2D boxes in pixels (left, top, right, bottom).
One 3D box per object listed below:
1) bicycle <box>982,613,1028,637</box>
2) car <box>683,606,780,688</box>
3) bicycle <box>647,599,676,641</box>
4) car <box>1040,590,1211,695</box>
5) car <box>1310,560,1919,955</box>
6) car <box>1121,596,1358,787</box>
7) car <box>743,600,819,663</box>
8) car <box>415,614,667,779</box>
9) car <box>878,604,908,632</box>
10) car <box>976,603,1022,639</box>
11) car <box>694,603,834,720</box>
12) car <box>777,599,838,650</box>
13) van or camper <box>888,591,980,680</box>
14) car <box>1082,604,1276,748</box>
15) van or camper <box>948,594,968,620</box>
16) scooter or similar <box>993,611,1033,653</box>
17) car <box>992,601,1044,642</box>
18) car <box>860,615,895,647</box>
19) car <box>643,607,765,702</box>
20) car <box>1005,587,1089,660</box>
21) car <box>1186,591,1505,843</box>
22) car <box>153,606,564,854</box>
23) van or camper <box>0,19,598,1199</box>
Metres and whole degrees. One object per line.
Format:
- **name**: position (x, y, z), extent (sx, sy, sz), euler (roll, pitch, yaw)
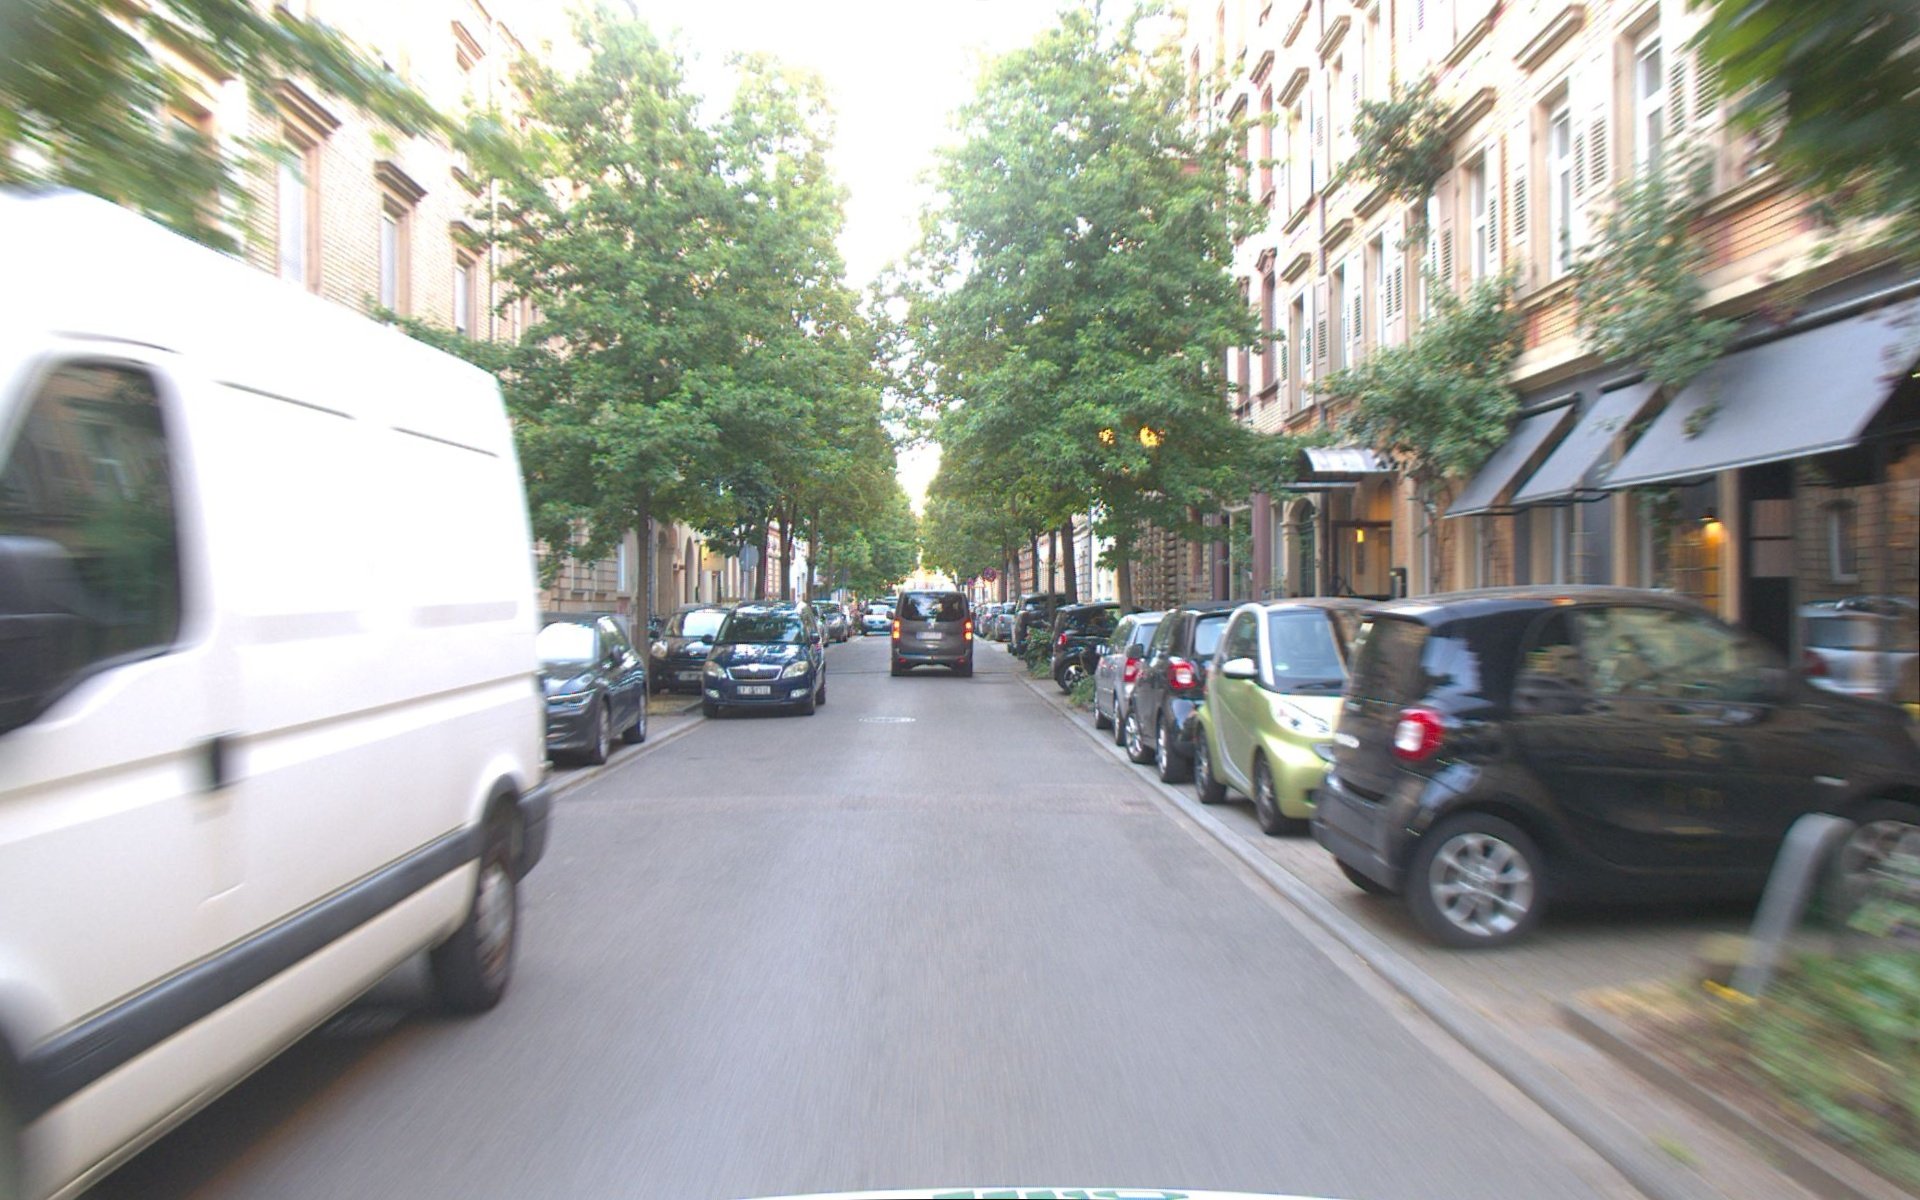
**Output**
- **bicycle**: position (1.915, 1.065, 70.768), extent (1.889, 0.999, 0.634), euler (0, 0, -23)
- **car**: position (-4.515, 0.896, 33.096), extent (1.488, 1.528, 3.560), euler (1, 0, -1)
- **bicycle**: position (-8.290, 0.542, 45.949), extent (0.452, 1.108, 1.629), euler (2, 1, 0)
- **car**: position (2.886, 0.728, 29.235), extent (2.741, 1.627, 1.800), euler (-4, 0, -1)
- **car**: position (3.205, 0.672, 7.918), extent (2.660, 1.600, 1.525), euler (-2, 0, -1)
- **car**: position (2.502, 0.770, 15.458), extent (1.559, 1.588, 3.121), euler (0, 0, -3)
- **car**: position (-4.917, 0.836, 45.841), extent (1.641, 1.635, 3.861), euler (1, 0, 1)
- **car**: position (-4.248, 0.905, 17.421), extent (1.731, 1.488, 4.256), euler (0, 0, -2)
- **car**: position (-3.979, 1.029, 97.599), extent (1.630, 1.590, 3.996), euler (-1, 0, -4)
- **car**: position (1.722, 0.906, 73.664), extent (1.682, 1.502, 4.365), euler (-2, 0, -3)
- **car**: position (-2.877, 0.854, 25.024), extent (1.689, 1.601, 4.218), euler (0, 0, -1)
- **car**: position (-5.101, 0.789, 55.670), extent (1.671, 1.608, 4.077), euler (1, 0, 0)
- **van or camper**: position (-0.544, 0.785, 38.259), extent (1.993, 1.931, 4.271), euler (0, 0, 1)
- **car**: position (2.504, 0.820, 19.833), extent (1.698, 1.517, 4.103), euler (-1, 0, -1)
- **van or camper**: position (-0.235, 0.759, 175.850), extent (1.953, 2.644, 5.421), euler (0, 0, -2)
- **scooter or similar**: position (1.646, 0.989, 51.273), extent (0.663, 1.211, 1.111), euler (-4, -1, 38)
- **car**: position (2.232, 0.814, 64.762), extent (1.723, 1.488, 4.306), euler (-1, 0, -2)
- **car**: position (-3.994, 1.481, 80.313), extent (1.548, 1.445, 3.752), euler (-1, 0, -1)
- **car**: position (-4.393, 0.900, 28.821), extent (1.657, 1.528, 3.710), euler (1, 0, -2)
- **car**: position (2.424, 0.637, 47.064), extent (1.973, 1.865, 4.809), euler (-3, 0, -1)
- **car**: position (2.676, 0.753, 12.073), extent (1.435, 1.579, 2.915), euler (-1, 0, -4)
- **car**: position (-4.230, 0.818, 12.346), extent (1.650, 1.536, 4.112), euler (0, 0, -1)
- **van or camper**: position (-2.675, 0.305, 4.556), extent (2.174, 2.473, 5.659), euler (-1, 0, -1)
